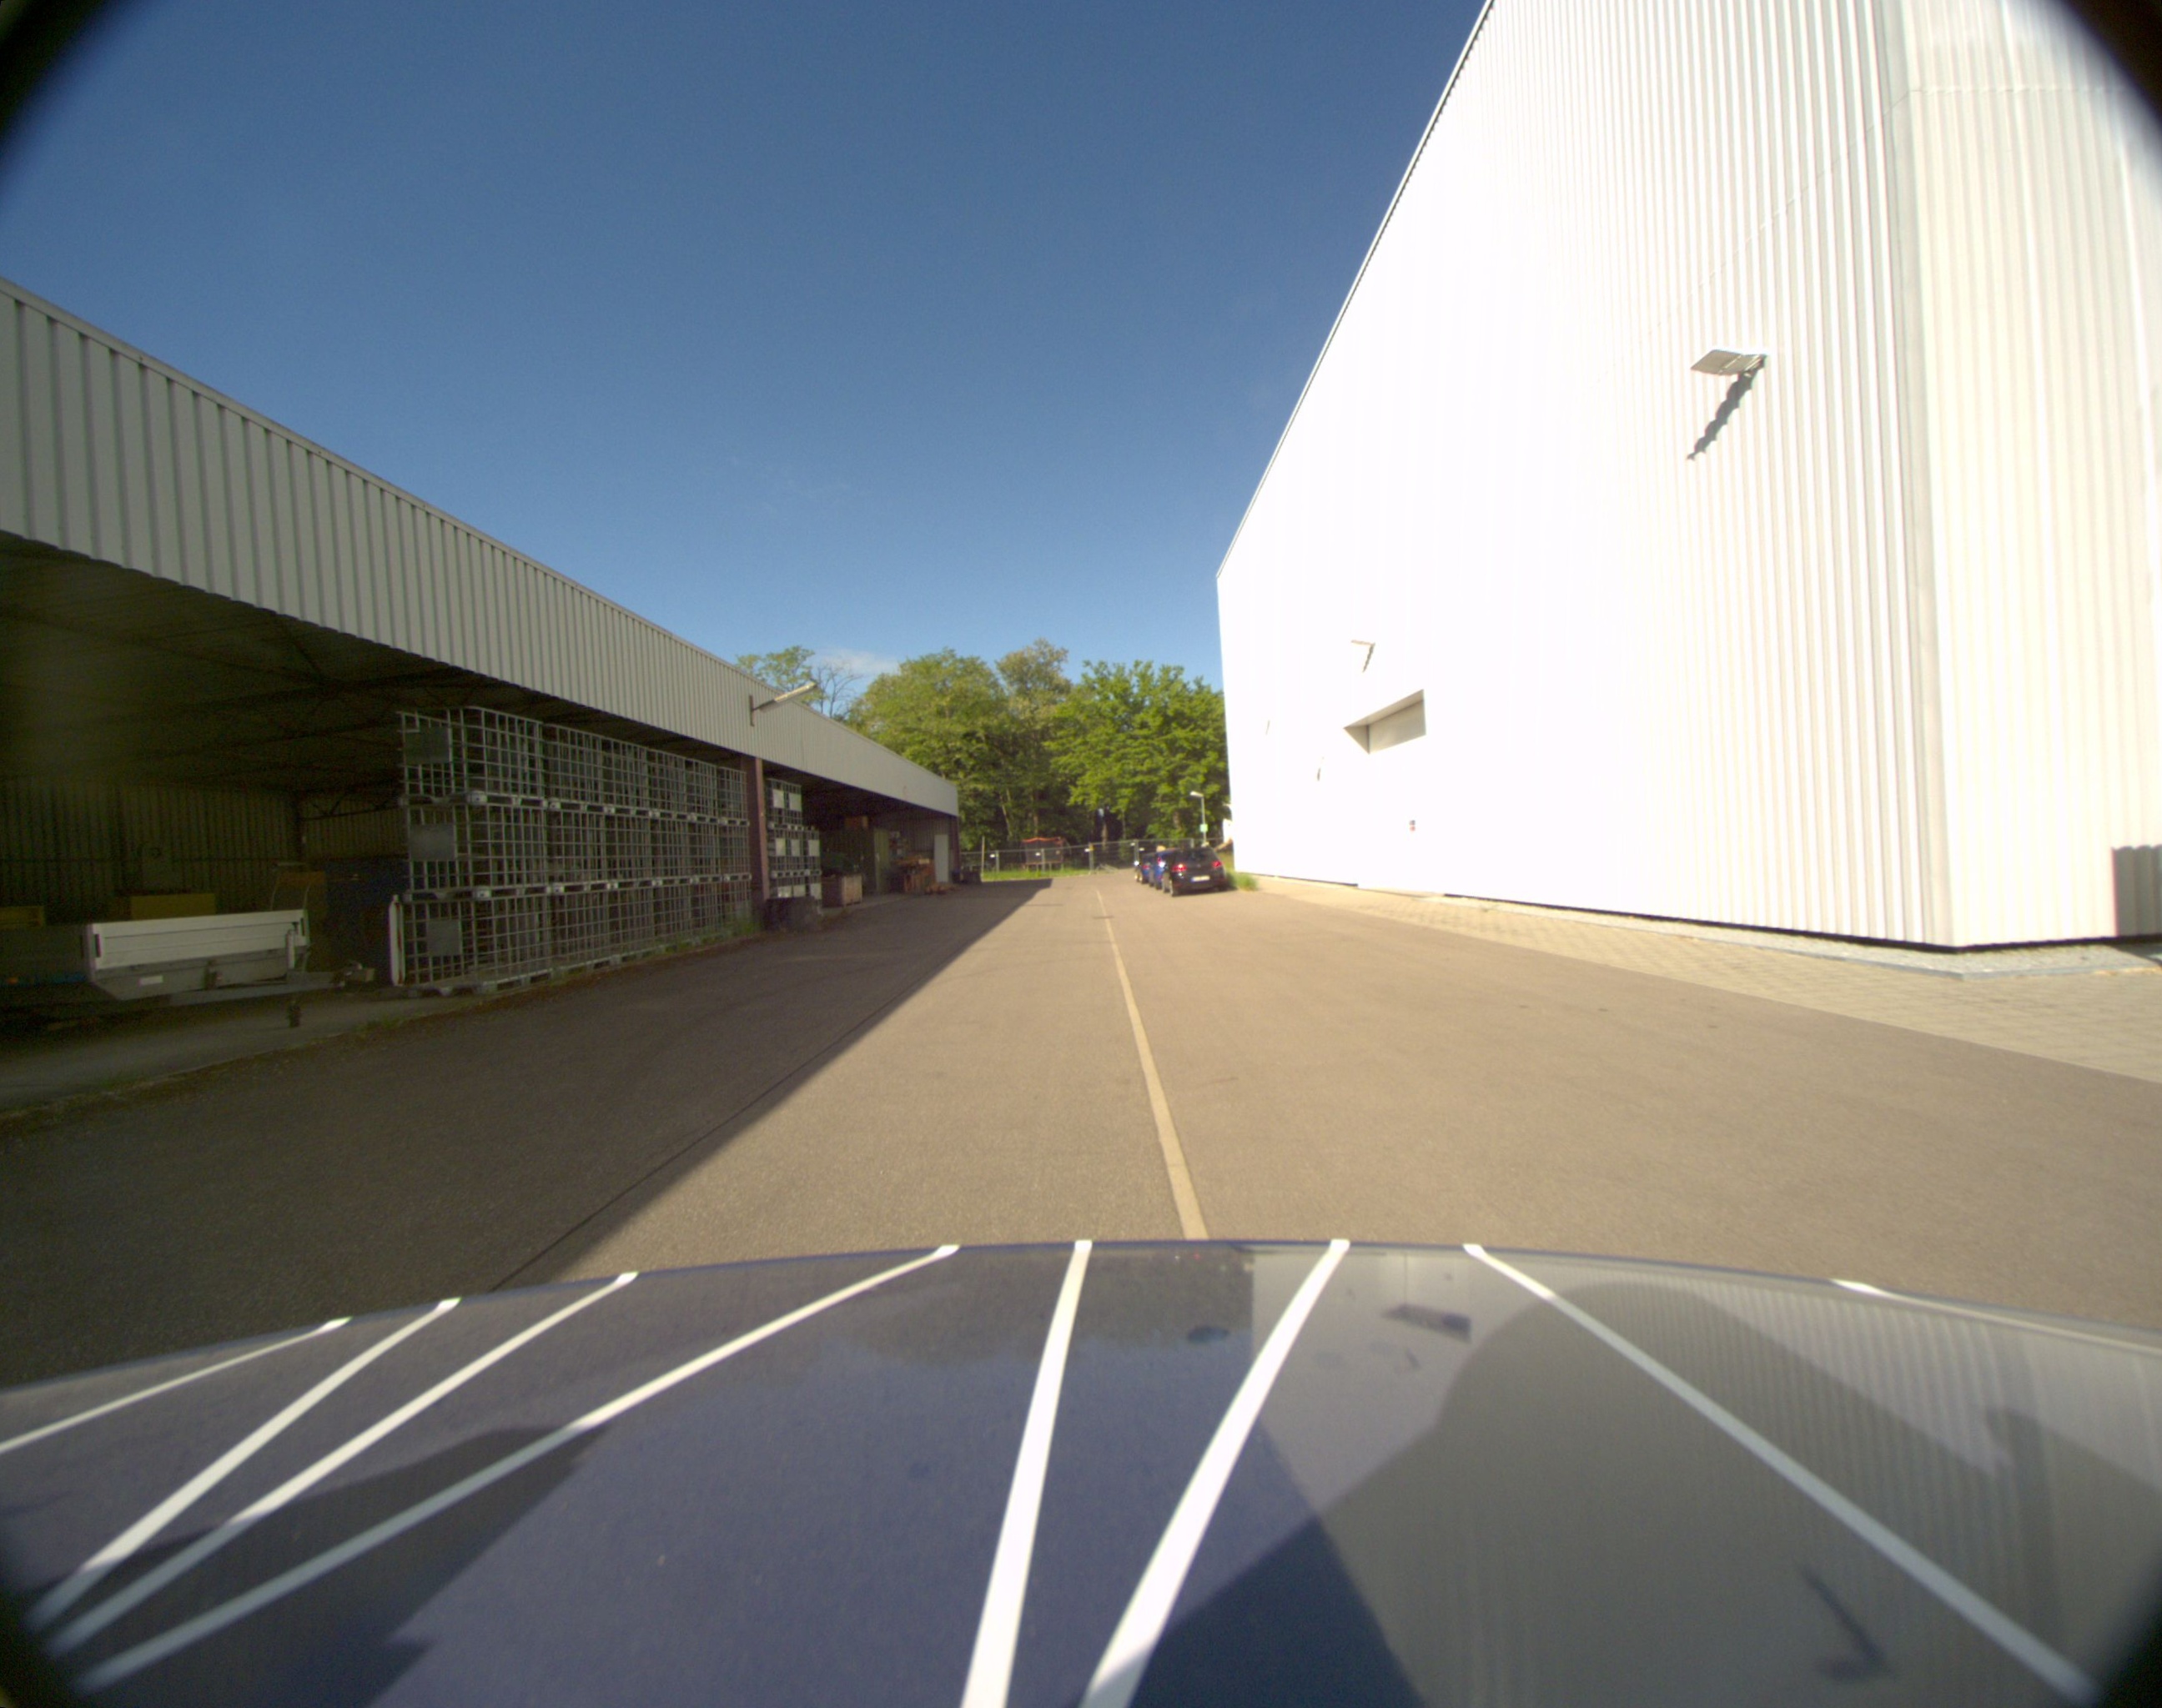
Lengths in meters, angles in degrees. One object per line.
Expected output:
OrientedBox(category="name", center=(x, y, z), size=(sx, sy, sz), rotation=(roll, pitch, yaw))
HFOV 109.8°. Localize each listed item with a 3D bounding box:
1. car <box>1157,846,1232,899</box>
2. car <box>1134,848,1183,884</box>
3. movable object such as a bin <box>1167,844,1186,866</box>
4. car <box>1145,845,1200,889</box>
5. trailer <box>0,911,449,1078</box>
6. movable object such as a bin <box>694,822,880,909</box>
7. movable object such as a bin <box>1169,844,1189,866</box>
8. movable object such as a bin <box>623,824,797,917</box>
OrientedBox(category="car", center=(3.615, 0.557, 24.944), size=(1.760, 1.437, 4.315), rotation=(-5, 0, 1))
OrientedBox(category="car", center=(3.518, 0.524, 35.200), size=(1.715, 1.440, 3.798), rotation=(-5, 0, -1))
OrientedBox(category="movable object such as a bin", center=(6.574, 0.056, 52.283), size=(1.141, 1.469, 1.280), rotation=(-2, 0, 1))
OrientedBox(category="car", center=(3.518, 0.500, 29.688), size=(1.552, 1.480, 3.522), rotation=(-5, 0, -1))
OrientedBox(category="trailer", center=(-9.940, 1.335, 7.450), size=(5.743, 1.178, 1.974), rotation=(-2, 1, -1))
OrientedBox(category="movable object such as a bin", center=(-11.092, 0.422, 29.072), size=(5.848, 2.908, 2.820), rotation=(-3, 1, 1))
OrientedBox(category="movable object such as a bin", center=(6.544, 0.060, 50.919), size=(1.141, 1.426, 1.289), rotation=(-2, 1, 1))
OrientedBox(category="movable object such as a bin", center=(-12.470, 0.546, 25.811), size=(4.537, 2.814, 2.497), rotation=(-3, 0, 1))
